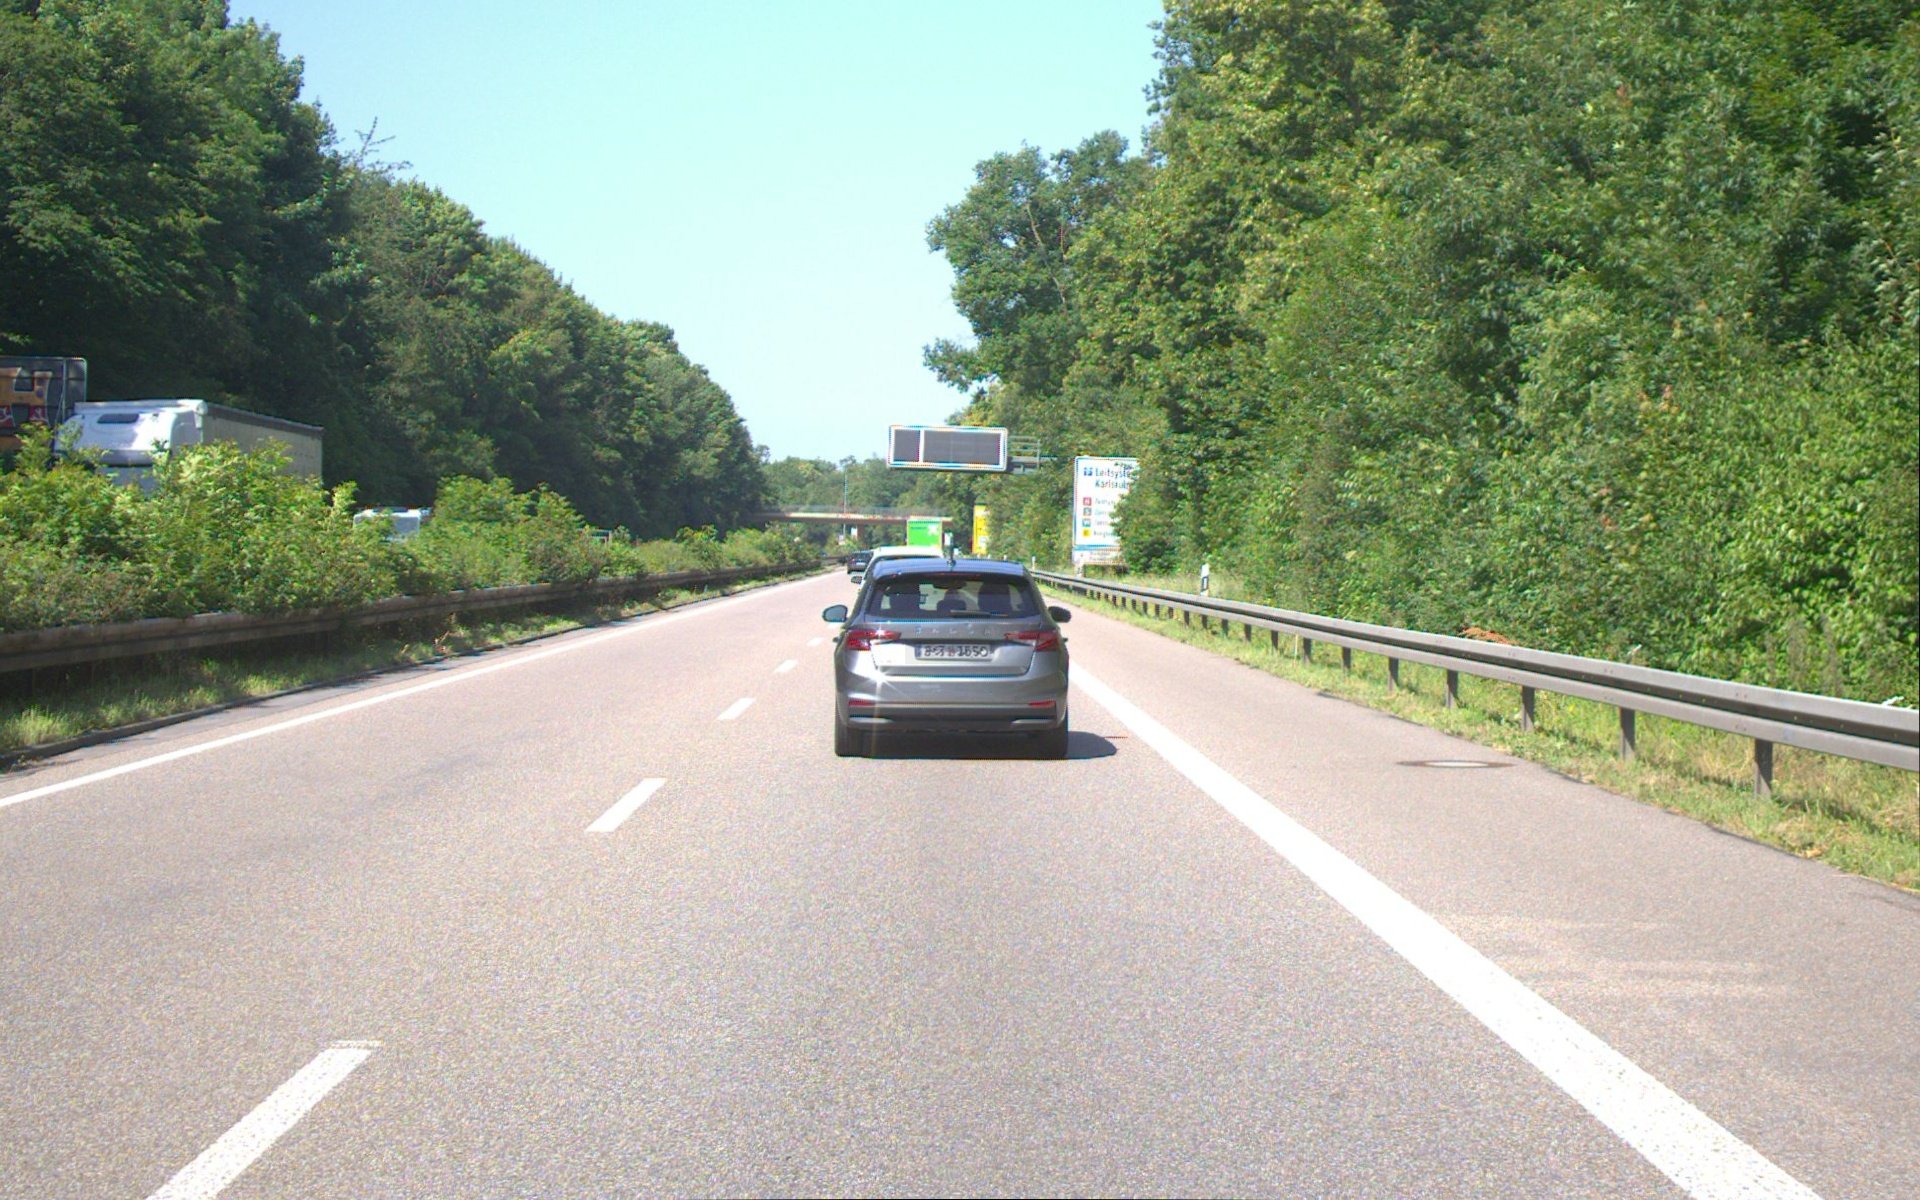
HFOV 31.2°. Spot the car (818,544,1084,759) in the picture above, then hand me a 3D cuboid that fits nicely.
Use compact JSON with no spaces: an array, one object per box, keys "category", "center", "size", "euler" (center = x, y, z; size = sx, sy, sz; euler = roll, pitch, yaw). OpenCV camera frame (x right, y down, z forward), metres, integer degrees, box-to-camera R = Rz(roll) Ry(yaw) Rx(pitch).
[{"category":"car","center":[-0.023,0.333,25.825],"size":[1.840,1.467,3.623],"euler":[1,1,1]}]

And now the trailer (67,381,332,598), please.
[{"category":"trailer","center":[-16.380,-2.272,75.271],"size":[2.828,4.285,13.664],"euler":[1,1,0]}]

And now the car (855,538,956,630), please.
[{"category":"car","center":[-0.874,-0.288,56.518],"size":[1.522,1.442,3.340],"euler":[1,1,1]}]

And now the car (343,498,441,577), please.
[{"category":"car","center":[-12.690,-1.387,76.933],"size":[1.607,1.700,3.481],"euler":[1,1,0]}]

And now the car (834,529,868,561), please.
[{"category":"car","center":[-6.990,-3.548,220.583],"size":[1.993,2.007,4.000],"euler":[1,1,0]}]

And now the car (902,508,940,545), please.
[{"category":"car","center":[-2.838,-5.434,253.224],"size":[2.748,2.645,4.000],"euler":[1,1,0]}]

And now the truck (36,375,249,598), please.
[{"category":"truck","center":[-16.307,-2.196,69.007],"size":[2.717,4.229,6.537],"euler":[1,1,0]}]
